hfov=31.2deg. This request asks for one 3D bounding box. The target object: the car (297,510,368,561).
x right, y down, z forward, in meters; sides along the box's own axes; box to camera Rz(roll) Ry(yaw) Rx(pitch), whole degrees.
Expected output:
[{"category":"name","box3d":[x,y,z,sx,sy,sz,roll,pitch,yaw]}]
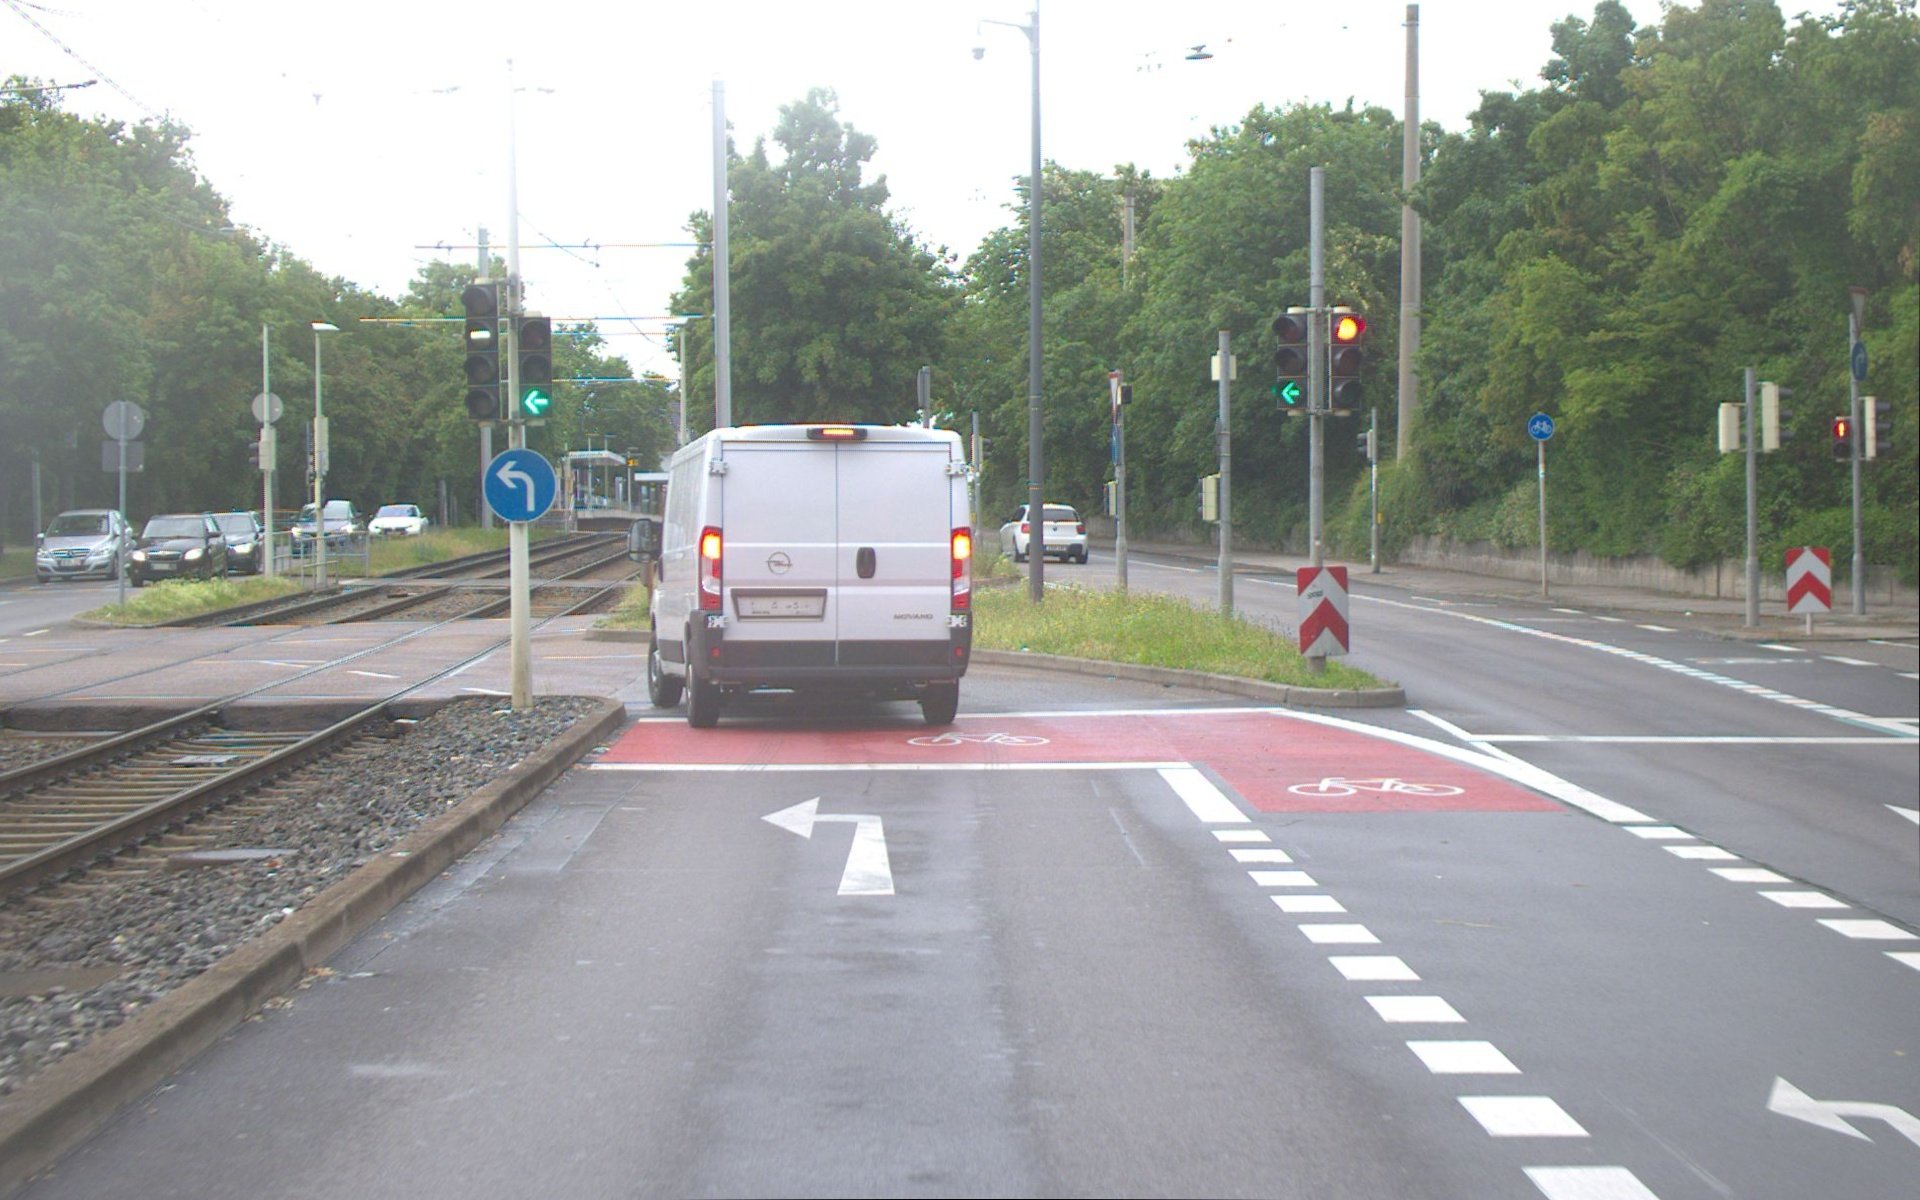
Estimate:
[{"category":"car","box3d":[-18.302,-1.898,100.377,1.601,1.397,3.792,1,2,-3]}]

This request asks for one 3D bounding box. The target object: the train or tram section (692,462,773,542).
[{"category":"train or tram section","box3d":[-12.817,-5.486,195.173,4.060,3.881,15.040,1,-1,-2]}]

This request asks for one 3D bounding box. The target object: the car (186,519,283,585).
[{"category":"car","box3d":[-16.472,-1.116,78.174,1.601,1.397,3.792,1,2,-3]}]

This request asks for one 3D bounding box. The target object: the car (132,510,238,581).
[{"category":"car","box3d":[-16.453,-1.181,73.121,1.601,1.397,3.792,1,2,-3]}]

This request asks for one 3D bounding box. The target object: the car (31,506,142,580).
[{"category":"car","box3d":[-20.134,-1.342,79.373,1.719,1.548,3.864,-3,2,-3]}]

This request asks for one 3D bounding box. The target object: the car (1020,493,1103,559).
[{"category":"car","box3d":[2.448,-1.822,83.489,1.703,1.516,3.792,1,2,-3]}]

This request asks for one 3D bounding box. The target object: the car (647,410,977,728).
[{"category":"car","box3d":[-1.289,-0.295,27.270,2.146,2.275,5.064,0,2,-8]}]

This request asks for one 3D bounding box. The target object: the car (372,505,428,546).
[{"category":"car","box3d":[-20.091,-2.686,123.461,1.601,1.397,3.792,1,2,-3]}]
